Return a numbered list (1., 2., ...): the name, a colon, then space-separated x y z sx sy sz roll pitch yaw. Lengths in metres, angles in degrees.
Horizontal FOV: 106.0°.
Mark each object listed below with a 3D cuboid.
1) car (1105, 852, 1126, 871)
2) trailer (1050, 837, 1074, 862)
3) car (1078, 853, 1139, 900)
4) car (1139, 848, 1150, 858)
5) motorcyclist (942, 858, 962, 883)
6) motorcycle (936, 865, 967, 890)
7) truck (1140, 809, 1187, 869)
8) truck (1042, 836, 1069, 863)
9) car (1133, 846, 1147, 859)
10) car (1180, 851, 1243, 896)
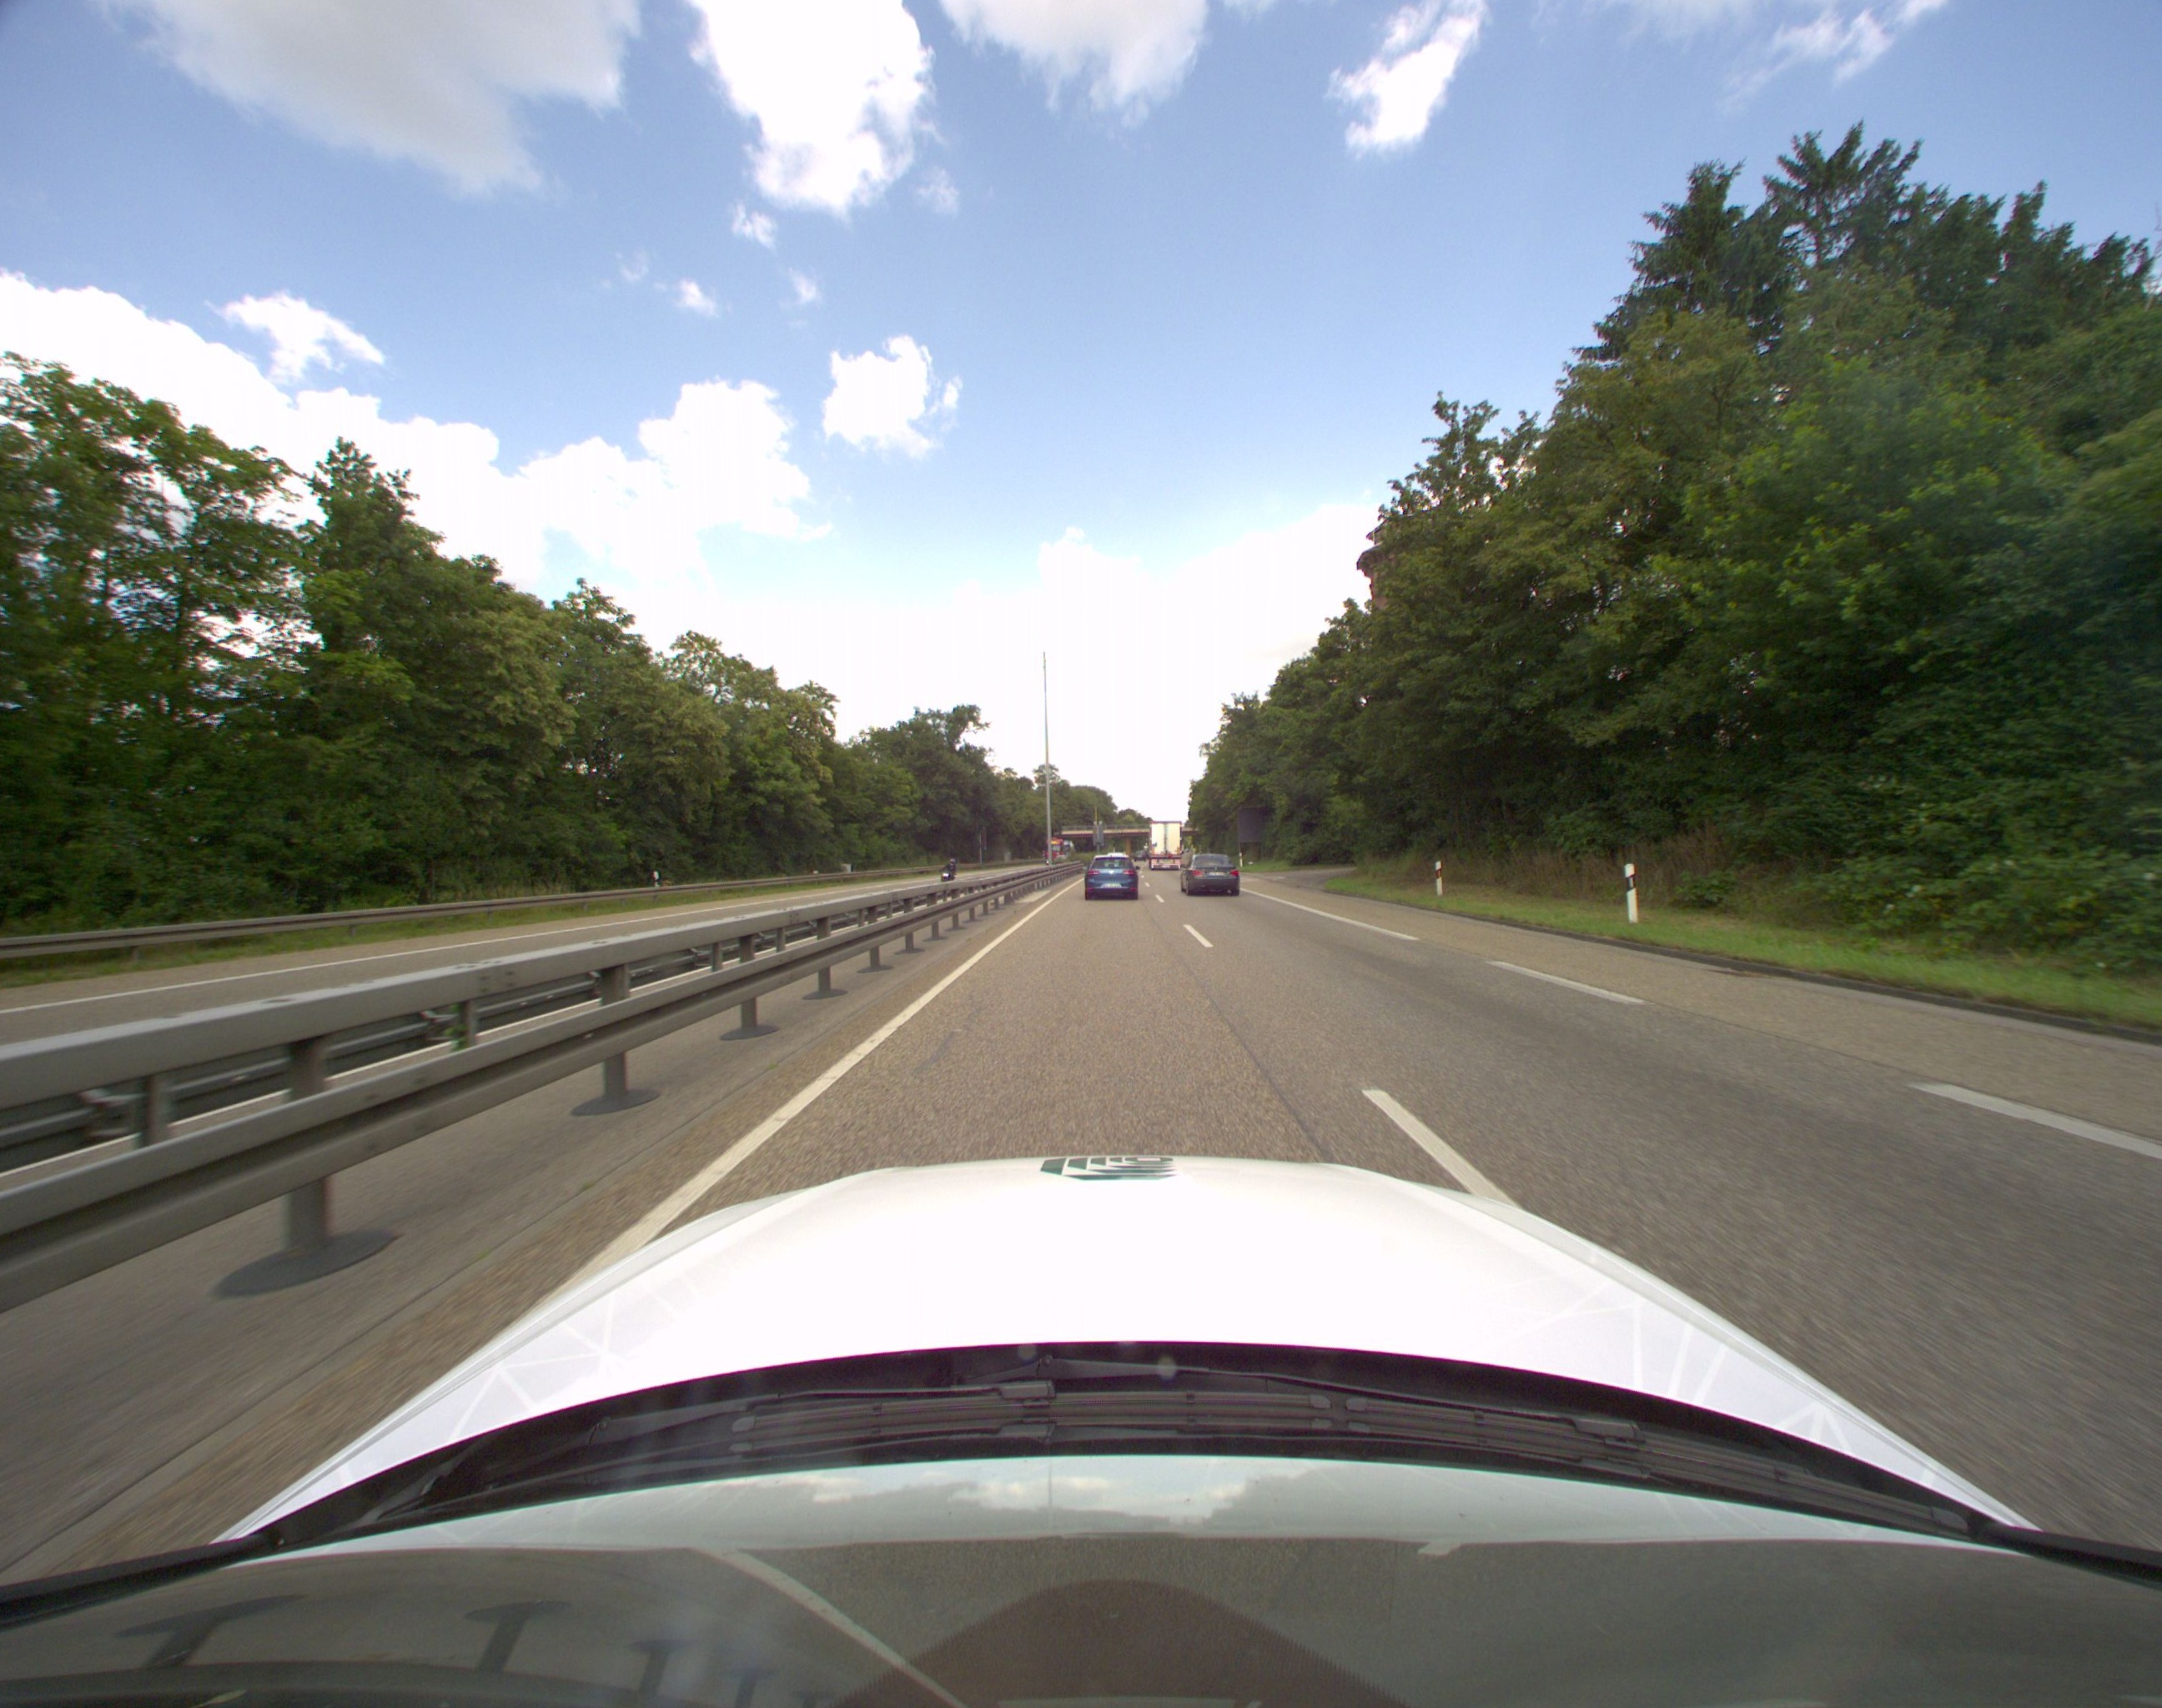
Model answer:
1. car: 2.824 0.564 66.077 1.658 1.500 4.156 -1 0 4
2. trailer: -3.112 -0.663 134.047 2.925 3.833 10.320 -2 0 4
3. car: 1.001 0.705 27.520 1.696 1.470 4.009 0 0 7
4. car: 11.939 -0.268 152.783 1.757 1.772 4.031 -2 0 7
5. motorcyclist: -6.621 0.854 41.807 0.822 1.226 0.720 -2 0 1
6. motorcycle: -6.650 1.194 42.061 0.996 1.201 2.999 -2 0 2
7. truck: 7.023 -1.221 70.892 3.229 4.716 11.012 -2 0 2
8. truck: -3.781 -0.662 123.777 2.942 3.855 10.334 -2 0 4
9. car: 9.192 -0.263 127.163 1.944 2.013 4.007 -2 0 6
10. car: 4.678 0.653 29.723 1.767 1.475 4.884 0 0 3
